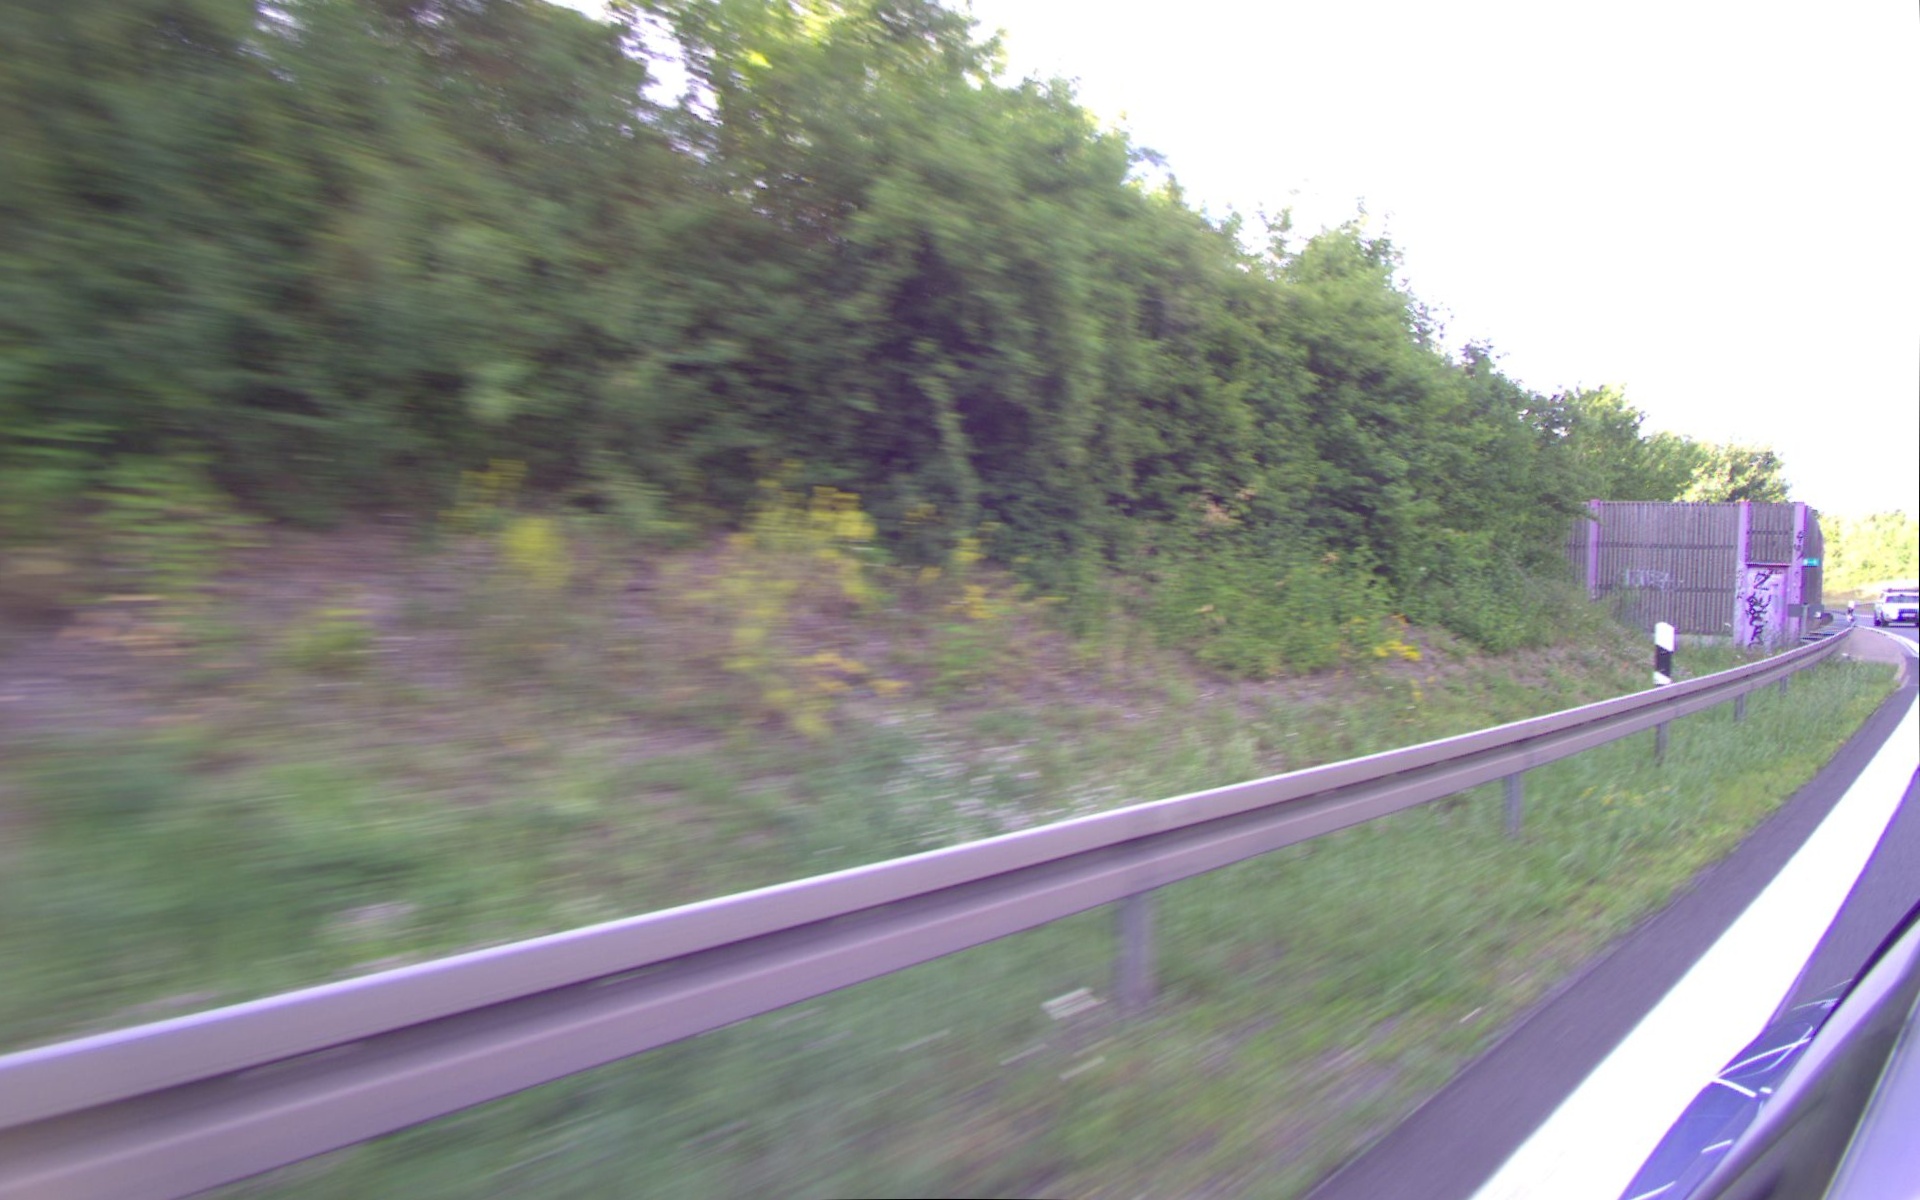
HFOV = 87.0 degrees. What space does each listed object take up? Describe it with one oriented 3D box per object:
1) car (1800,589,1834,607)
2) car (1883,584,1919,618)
[{"bbox_3d":[71.666,-0.173,84.642,1.608,1.478,3.622,0,1,31],"label":"car"},{"bbox_3d":[48.941,0.011,51.780,1.893,1.686,3.952,0,0,33],"label":"car"}]
